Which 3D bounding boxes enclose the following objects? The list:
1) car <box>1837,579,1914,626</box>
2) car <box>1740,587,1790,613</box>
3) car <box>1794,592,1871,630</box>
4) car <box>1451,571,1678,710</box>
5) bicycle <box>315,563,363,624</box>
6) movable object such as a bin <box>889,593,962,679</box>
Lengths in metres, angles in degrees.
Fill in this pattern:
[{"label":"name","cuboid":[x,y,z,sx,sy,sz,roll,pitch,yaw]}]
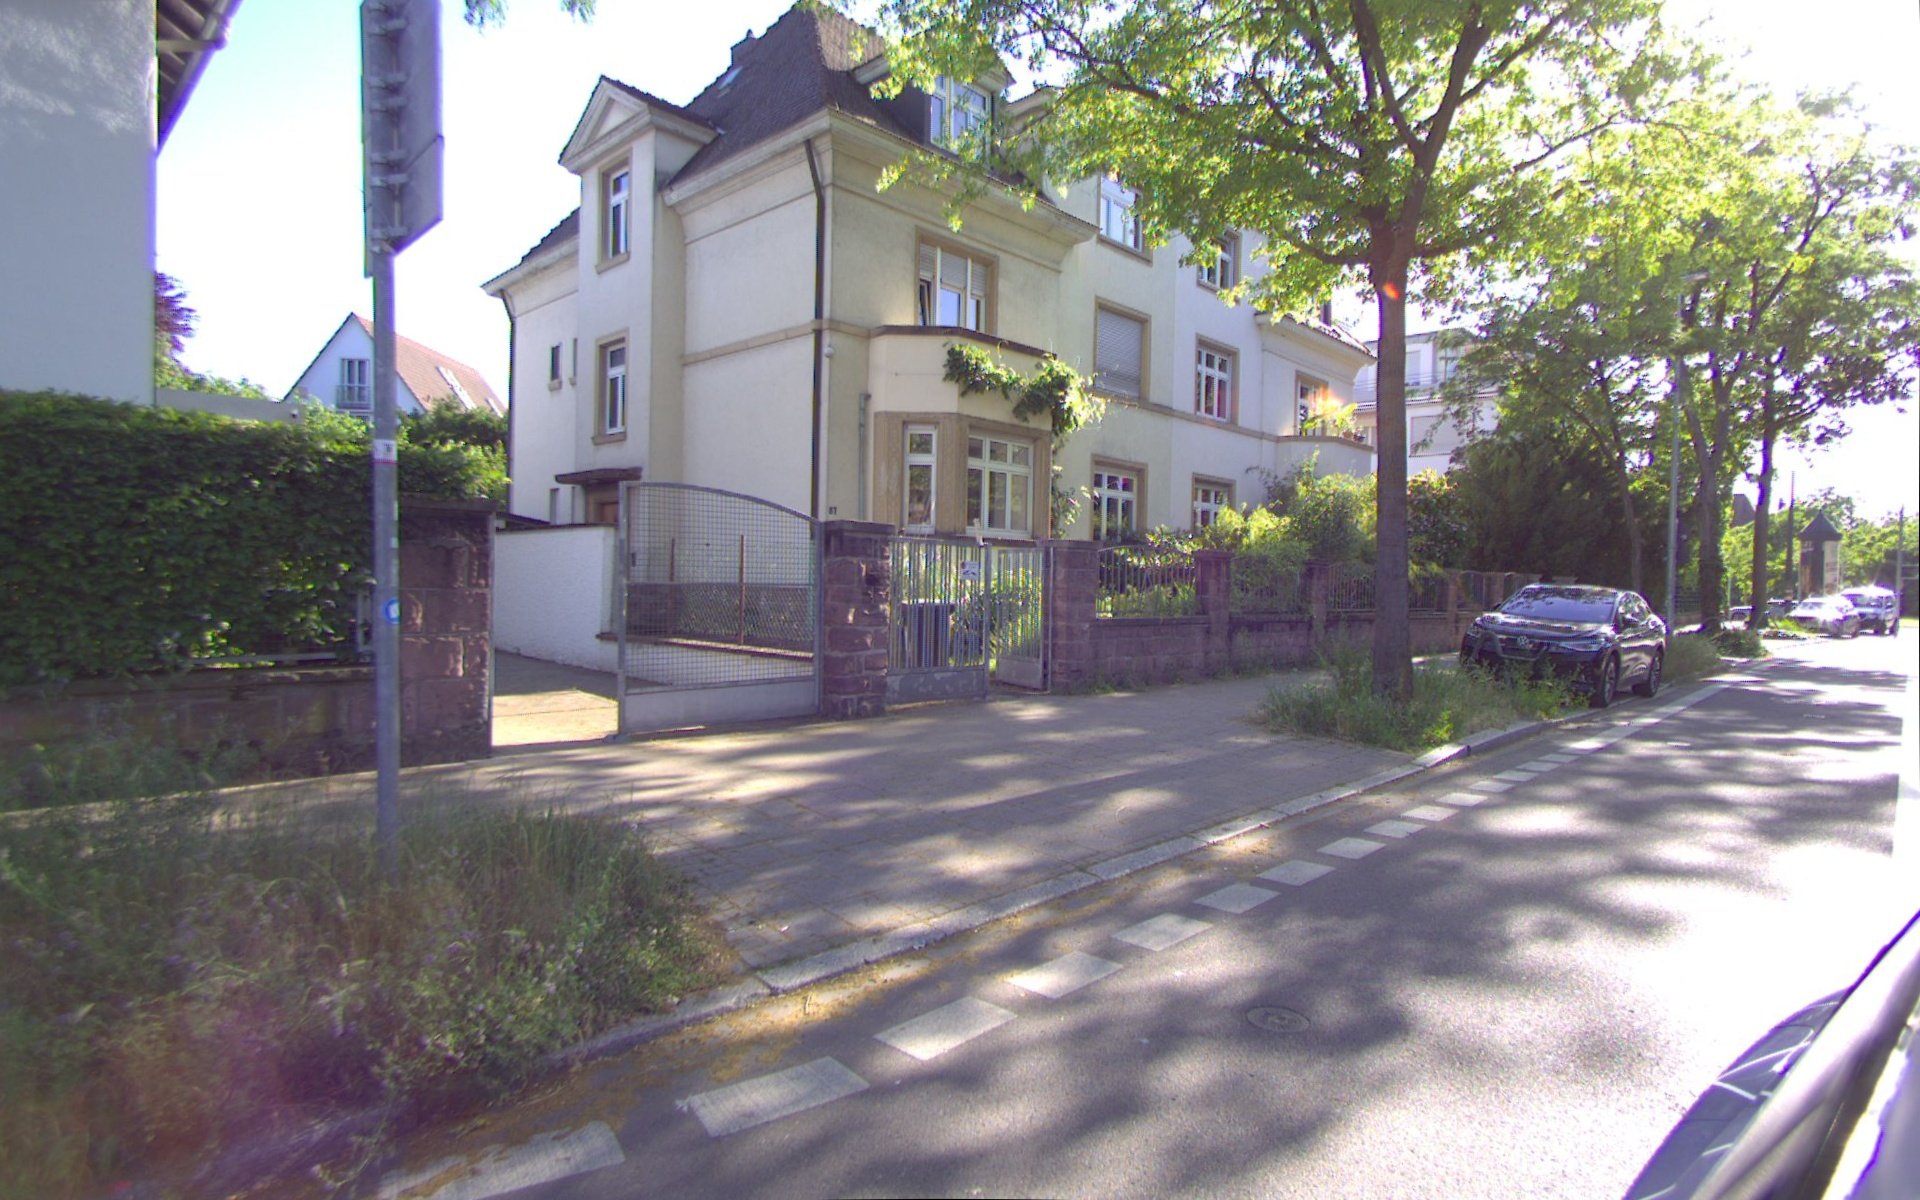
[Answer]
[{"label":"car","cuboid":[38.094,0.062,42.082,4.174,1.852,1.903,-1,1,-41]},{"label":"car","cuboid":[47.403,-0.035,59.578,3.933,1.460,1.738,-1,1,-43]},{"label":"car","cuboid":[32.979,0.380,38.213,3.850,1.356,1.718,-1,1,-41]},{"label":"car","cuboid":[9.075,0.474,15.050,1.994,1.765,4.104,1,1,44]},{"label":"bicycle","cuboid":[-12.106,-0.140,19.704,0.512,1.136,1.463,0,1,-43]},{"label":"movable object such as a bin","cuboid":[-0.464,0.447,13.275,0.712,1.068,0.969,0,1,-19]}]
